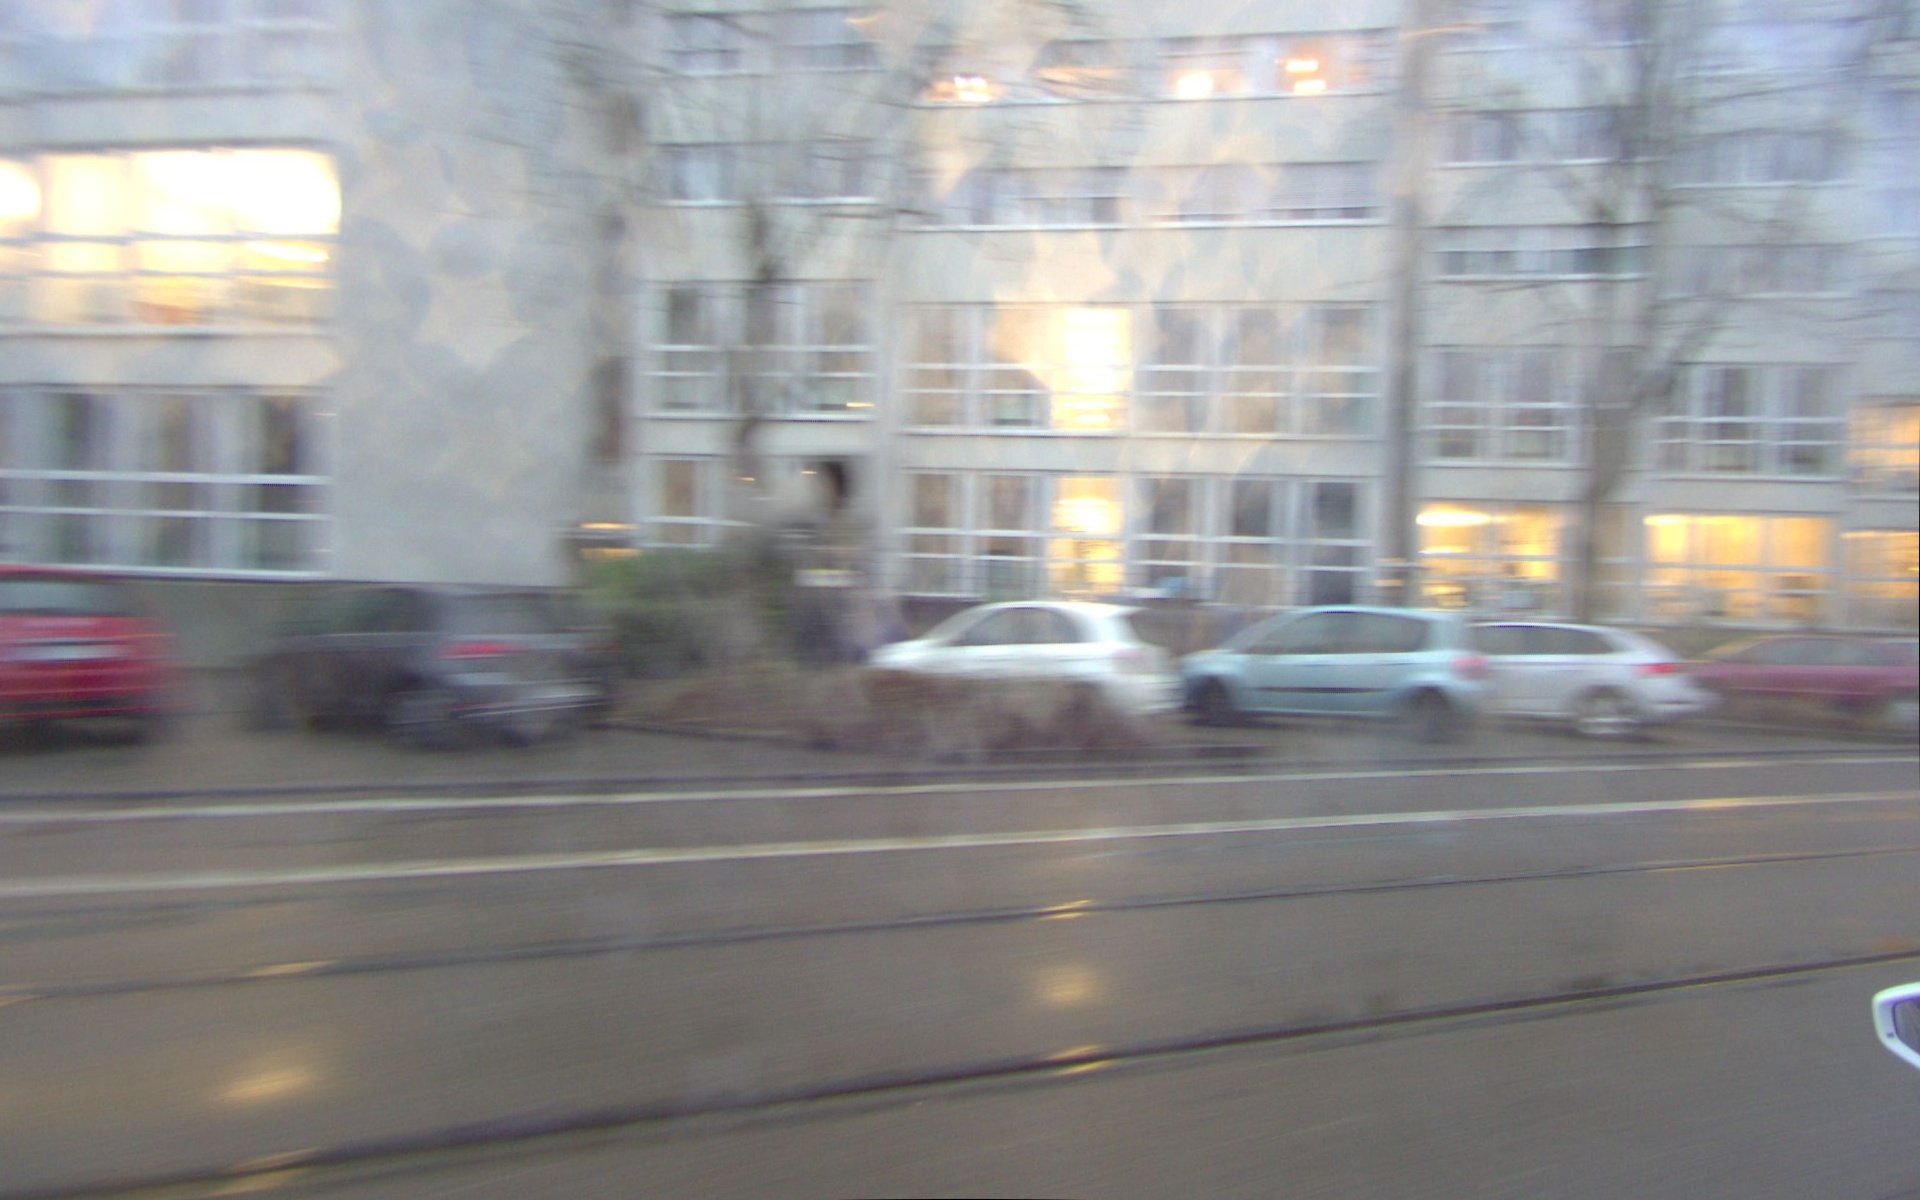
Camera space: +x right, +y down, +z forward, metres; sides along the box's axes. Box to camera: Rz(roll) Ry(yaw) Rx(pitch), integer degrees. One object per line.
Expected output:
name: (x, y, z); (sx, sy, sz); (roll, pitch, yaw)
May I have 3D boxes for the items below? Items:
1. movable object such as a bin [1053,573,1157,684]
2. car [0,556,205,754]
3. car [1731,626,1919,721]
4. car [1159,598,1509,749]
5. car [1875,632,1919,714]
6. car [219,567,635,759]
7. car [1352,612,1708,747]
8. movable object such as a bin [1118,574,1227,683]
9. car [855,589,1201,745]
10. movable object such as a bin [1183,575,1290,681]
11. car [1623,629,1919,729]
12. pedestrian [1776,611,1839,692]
movable object such as a bin: (2.558, 0.478, 17.949); (1.297, 1.885, 1.569); (0, 1, -17)
car: (-8.526, 0.390, 8.910); (3.389, 1.513, 1.726); (1, 0, 30)
car: (15.958, 1.277, 17.503); (3.936, 1.482, 1.730); (1, -1, 37)
car: (4.718, 0.814, 12.784); (3.928, 1.584, 1.733); (1, 0, 30)
car: (19.458, 1.391, 18.275); (3.780, 1.442, 1.735); (1, 0, 26)
car: (-5.143, 0.478, 9.645); (3.783, 1.513, 1.693); (1, 0, 28)
car: (7.577, 0.959, 13.519); (3.938, 1.463, 1.729); (1, -1, 39)
movable object such as a bin: (3.861, 0.489, 18.391); (1.371, 1.885, 1.569); (0, 1, -17)
car: (0.802, 0.697, 12.125); (3.804, 1.572, 1.691); (1, 0, 27)
movable object such as a bin: (5.149, 0.496, 18.818); (1.297, 1.885, 1.569); (0, 1, -17)
car: (13.384, 1.214, 16.157); (4.264, 1.370, 1.749); (1, -1, 24)
pedestrian: (18.112, 1.090, 21.474); (0.958, 1.699, 0.596); (1, 0, -19)
